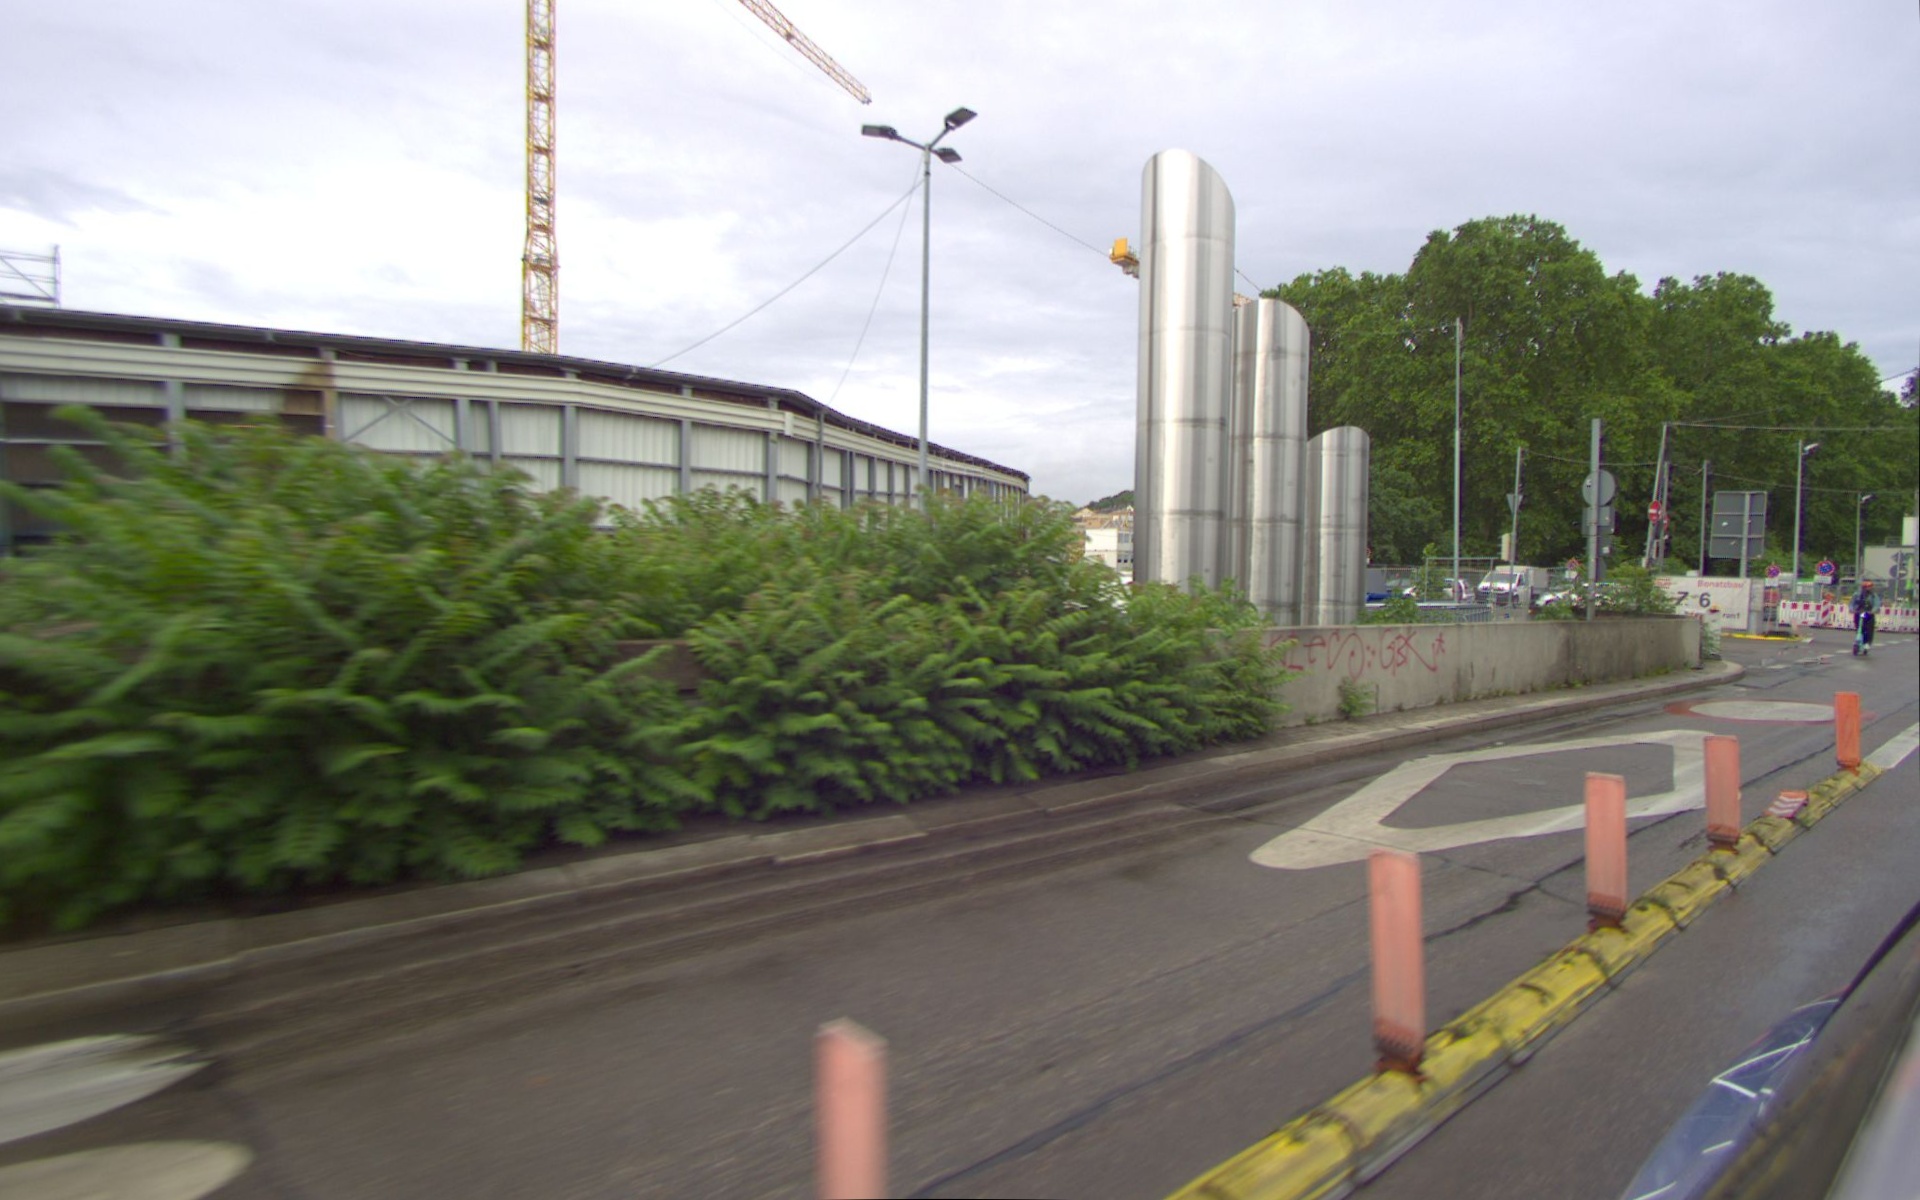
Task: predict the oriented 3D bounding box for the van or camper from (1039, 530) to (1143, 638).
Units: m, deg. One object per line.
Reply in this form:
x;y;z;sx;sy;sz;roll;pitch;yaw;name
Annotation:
3.512;-0.463;26.764;2.347;2.431;6.050;2;2;9;van or camper

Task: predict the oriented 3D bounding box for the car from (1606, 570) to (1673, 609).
31.381;-0.463;46.680;1.993;1.657;4.127;3;2;41;car

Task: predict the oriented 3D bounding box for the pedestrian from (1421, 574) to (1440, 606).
23.786;-0.488;51.160;0.650;1.594;0.653;3;2;42;pedestrian

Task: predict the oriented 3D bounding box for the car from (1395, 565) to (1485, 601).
24.669;-0.882;52.059;3.716;1.657;1.969;4;2;42;car

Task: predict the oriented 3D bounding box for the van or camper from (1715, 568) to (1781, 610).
40.927;-0.561;52.527;2.118;2.054;4.932;4;2;44;van or camper

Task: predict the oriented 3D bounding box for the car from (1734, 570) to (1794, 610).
44.892;-0.547;56.463;4.120;2.092;1.996;1;2;-44;car

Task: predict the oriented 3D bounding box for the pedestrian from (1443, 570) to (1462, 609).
24.509;-0.533;50.372;0.650;1.894;0.653;3;2;42;pedestrian

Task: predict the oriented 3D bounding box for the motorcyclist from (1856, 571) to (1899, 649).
24.690;0.255;27.243;0.577;2.061;0.725;1;2;-41;motorcyclist

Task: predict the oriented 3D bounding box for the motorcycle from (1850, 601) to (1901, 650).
24.637;0.670;27.224;2.123;1.244;0.729;1;2;-41;motorcycle
